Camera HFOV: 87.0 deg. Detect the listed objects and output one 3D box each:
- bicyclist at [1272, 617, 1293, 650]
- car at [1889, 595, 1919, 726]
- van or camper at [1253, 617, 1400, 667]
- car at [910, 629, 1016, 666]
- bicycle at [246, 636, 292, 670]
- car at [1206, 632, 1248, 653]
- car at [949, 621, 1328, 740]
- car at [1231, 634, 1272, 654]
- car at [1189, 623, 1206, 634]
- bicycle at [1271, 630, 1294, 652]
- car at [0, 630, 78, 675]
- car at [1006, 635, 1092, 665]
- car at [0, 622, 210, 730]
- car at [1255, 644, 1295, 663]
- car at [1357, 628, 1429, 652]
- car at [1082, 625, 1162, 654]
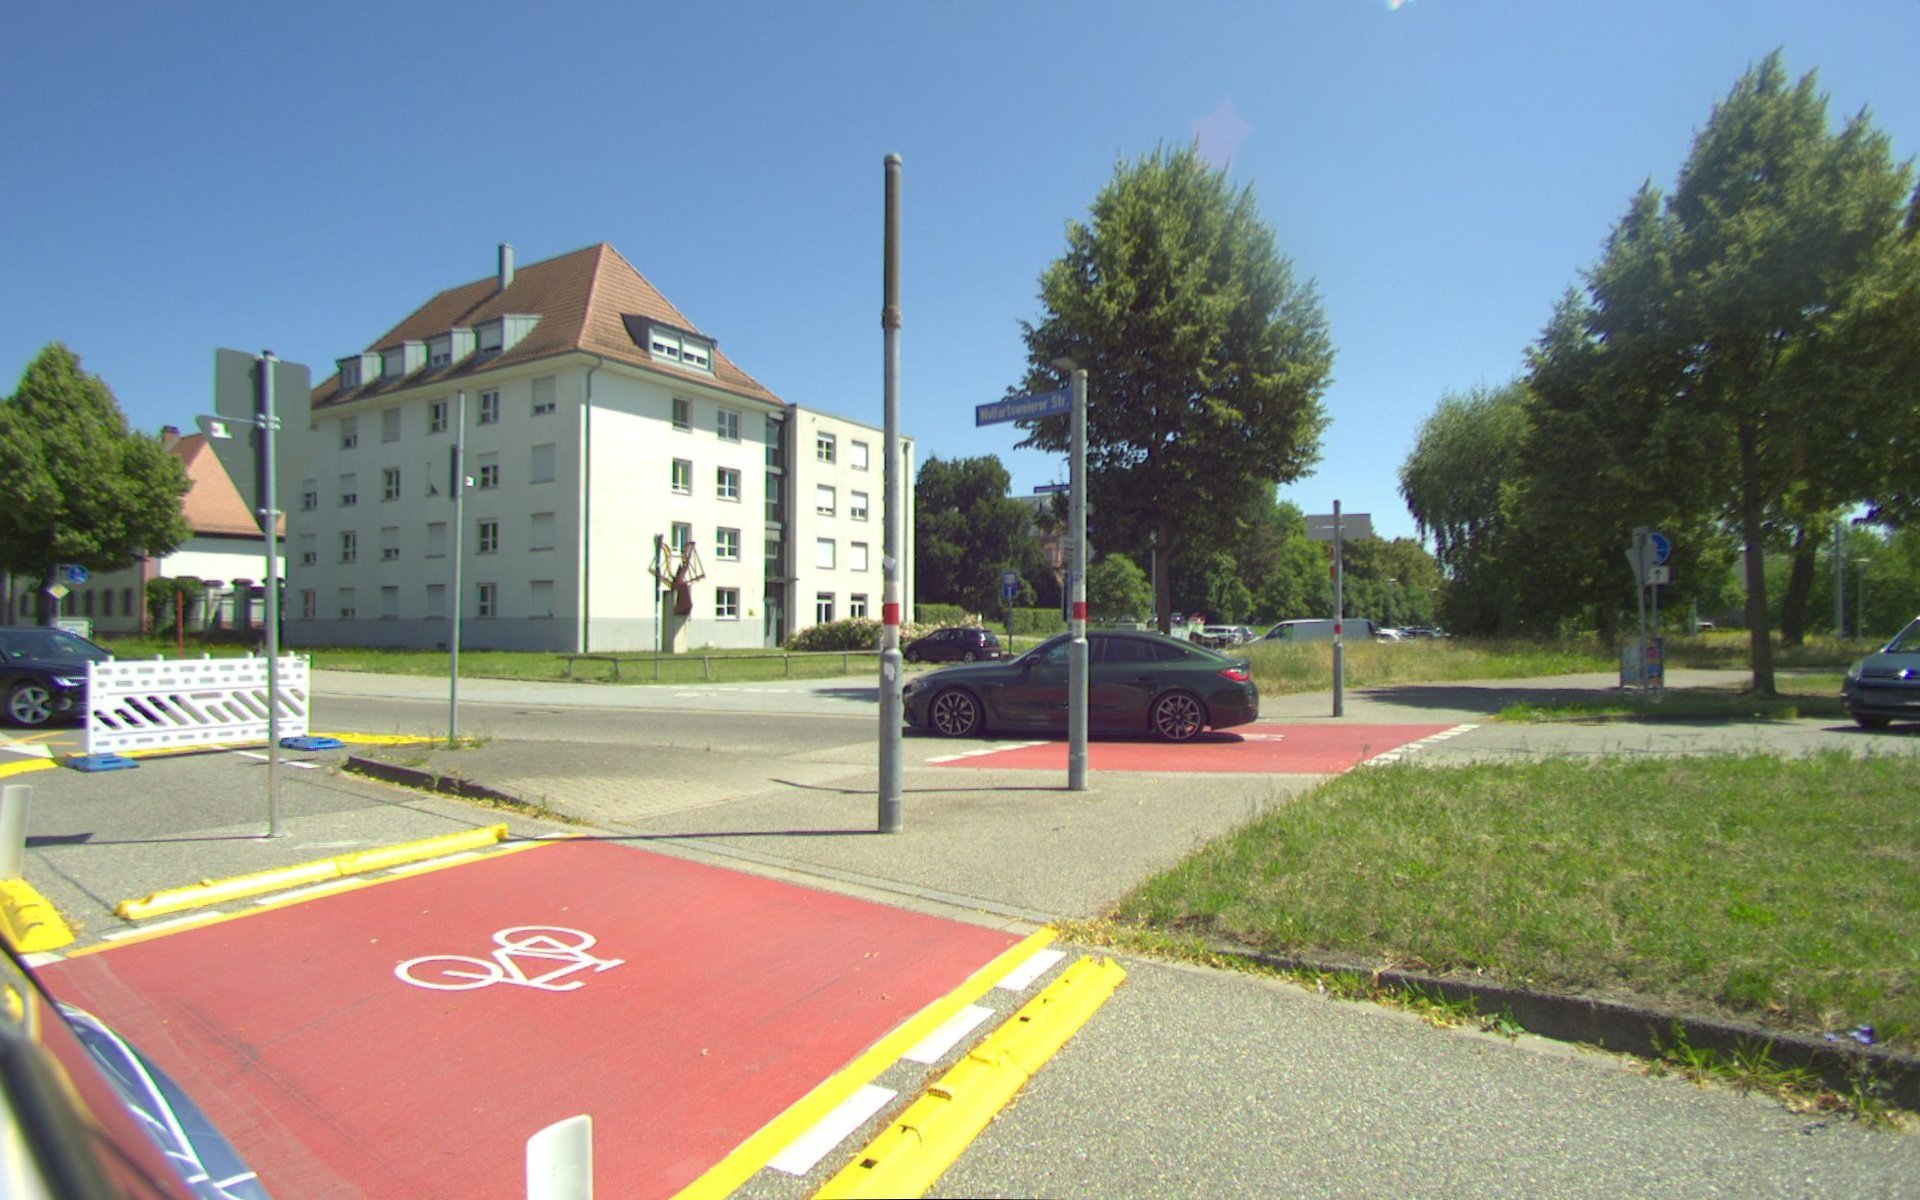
[{"bbox_3d":[16.510,1.704,51.777,0.714,1.650,0.962,1,-1,39],"label":"bicyclist"},{"bbox_3d":[15.220,0.827,13.881,4.133,1.783,1.694,1,-3,-17],"label":"car"},{"bbox_3d":[14.729,1.671,40.799,5.255,1.871,1.978,-1,-2,32],"label":"van or camper"},{"bbox_3d":[0.082,1.771,38.565,3.796,1.337,1.641,-1,-2,33],"label":"car"},{"bbox_3d":[-22.765,1.726,33.330,1.983,1.032,0.701,-1,1,39],"label":"bicycle"},{"bbox_3d":[17.678,2.828,67.058,2.526,1.368,1.069,-2,-2,39],"label":"car"},{"bbox_3d":[2.216,1.009,13.246,4.562,1.423,1.719,0,-2,6],"label":"car"},{"bbox_3d":[20.466,3.045,71.016,2.526,1.368,1.069,-2,-2,39],"label":"car"},{"bbox_3d":[30.499,3.615,129.930,1.472,1.427,2.999,-1,-2,28],"label":"car"},{"bbox_3d":[16.455,2.090,51.687,0.549,1.121,1.655,1,-1,39],"label":"bicycle"},{"bbox_3d":[-31.176,1.716,33.390,4.618,1.414,1.802,-1,-3,32],"label":"car"},{"bbox_3d":[3.808,2.129,43.487,3.503,1.227,1.341,-1,-2,33],"label":"car"},{"bbox_3d":[-13.911,1.088,15.140,4.571,1.462,1.794,-1,-1,13],"label":"car"},{"bbox_3d":[23.021,3.900,73.986,2.526,1.368,1.069,-2,-2,39],"label":"car"},{"bbox_3d":[23.712,2.195,55.430,3.380,1.291,1.338,-2,-2,40],"label":"car"},{"bbox_3d":[8.487,2.053,53.028,3.797,1.336,1.641,1,0,33],"label":"car"}]
